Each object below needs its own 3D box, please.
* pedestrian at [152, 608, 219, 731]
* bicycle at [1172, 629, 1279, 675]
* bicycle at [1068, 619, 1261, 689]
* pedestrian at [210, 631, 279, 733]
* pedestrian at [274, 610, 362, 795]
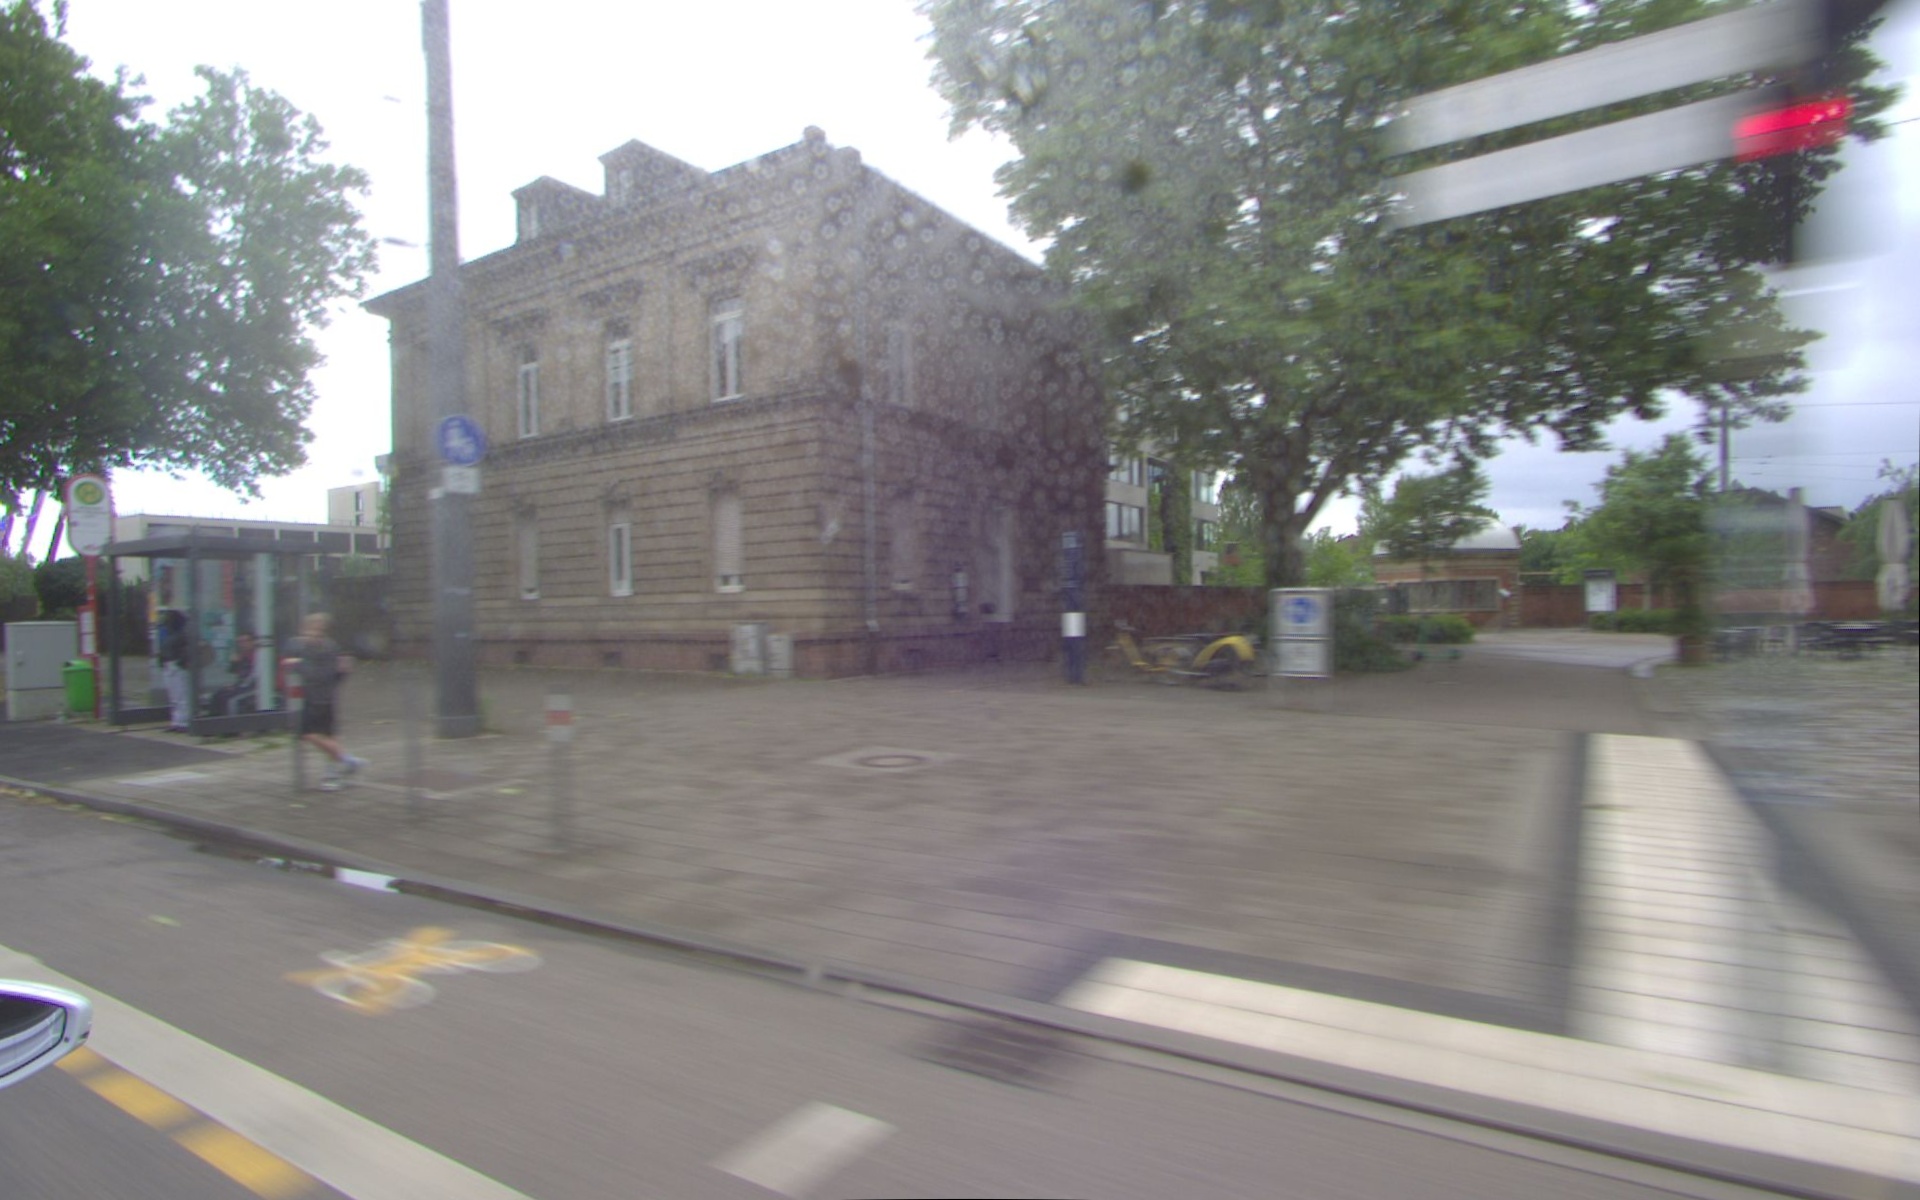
[{"bbox_3d":[-10.340,0.909,13.366,0.692,1.584,0.475,-1,0,33],"label":"pedestrian"},{"bbox_3d":[5.452,1.050,20.636,2.051,0.883,0.608,-1,0,32],"label":"bicycle"},{"bbox_3d":[3.693,0.949,18.342,3.356,1.083,0.898,2,1,32],"label":"bicycle"},{"bbox_3d":[-9.200,1.039,12.870,0.692,1.250,0.475,-1,0,33],"label":"pedestrian"},{"bbox_3d":[-5.660,0.870,8.819,0.547,1.548,0.633,-2,0,-39],"label":"pedestrian"}]
